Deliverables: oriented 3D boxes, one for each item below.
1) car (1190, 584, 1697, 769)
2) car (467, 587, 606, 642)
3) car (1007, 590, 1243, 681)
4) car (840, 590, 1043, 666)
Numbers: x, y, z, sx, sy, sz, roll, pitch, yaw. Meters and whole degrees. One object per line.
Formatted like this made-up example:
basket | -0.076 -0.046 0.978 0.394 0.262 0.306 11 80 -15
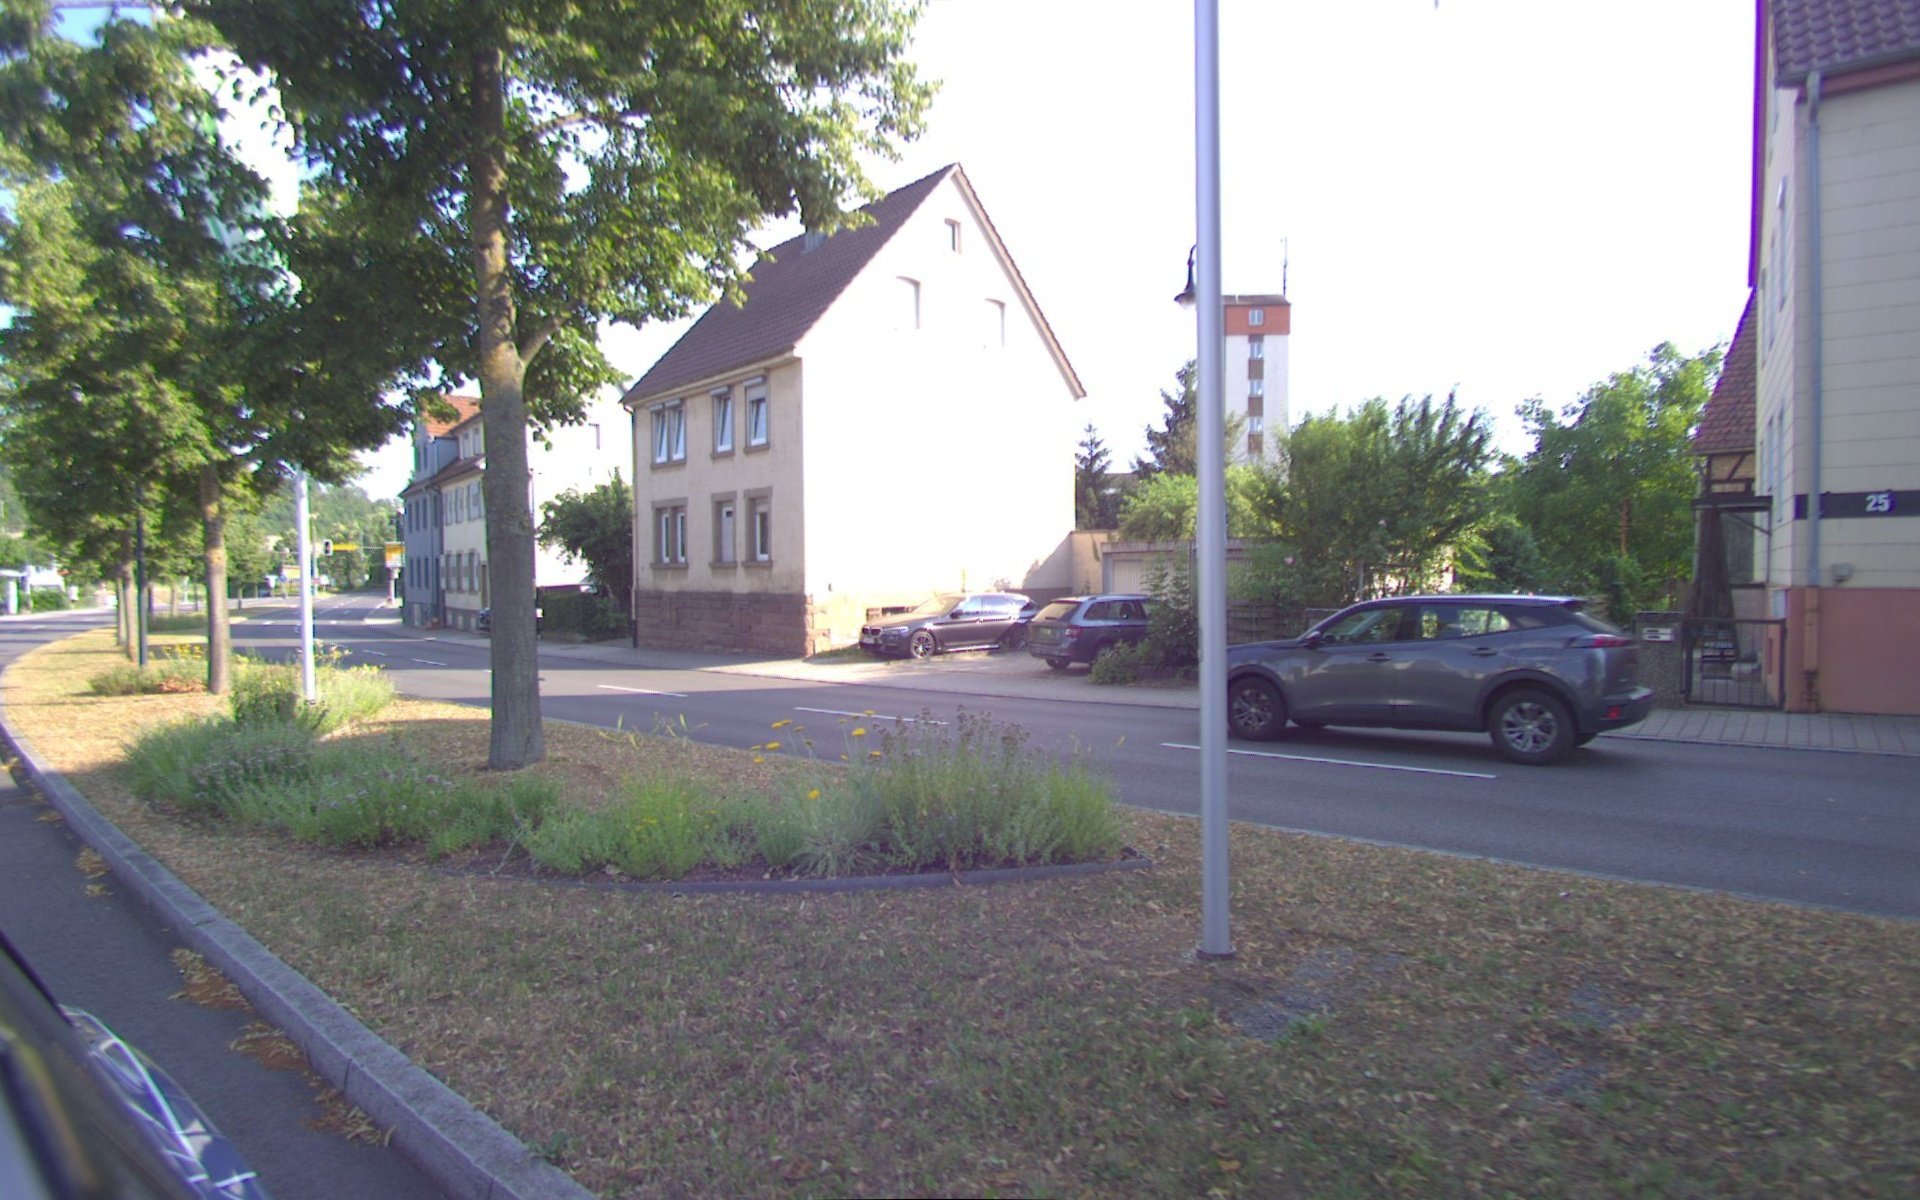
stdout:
car | 4.758 0.639 10.300 4.321 1.497 1.920 -1 -1 40
car | -17.013 0.533 40.751 4.762 1.891 2.004 -4 2 -37
car | 3.265 0.618 19.806 4.287 1.497 1.952 -2 1 -32
car | -0.394 0.591 23.524 4.287 1.497 2.017 -2 1 -33
